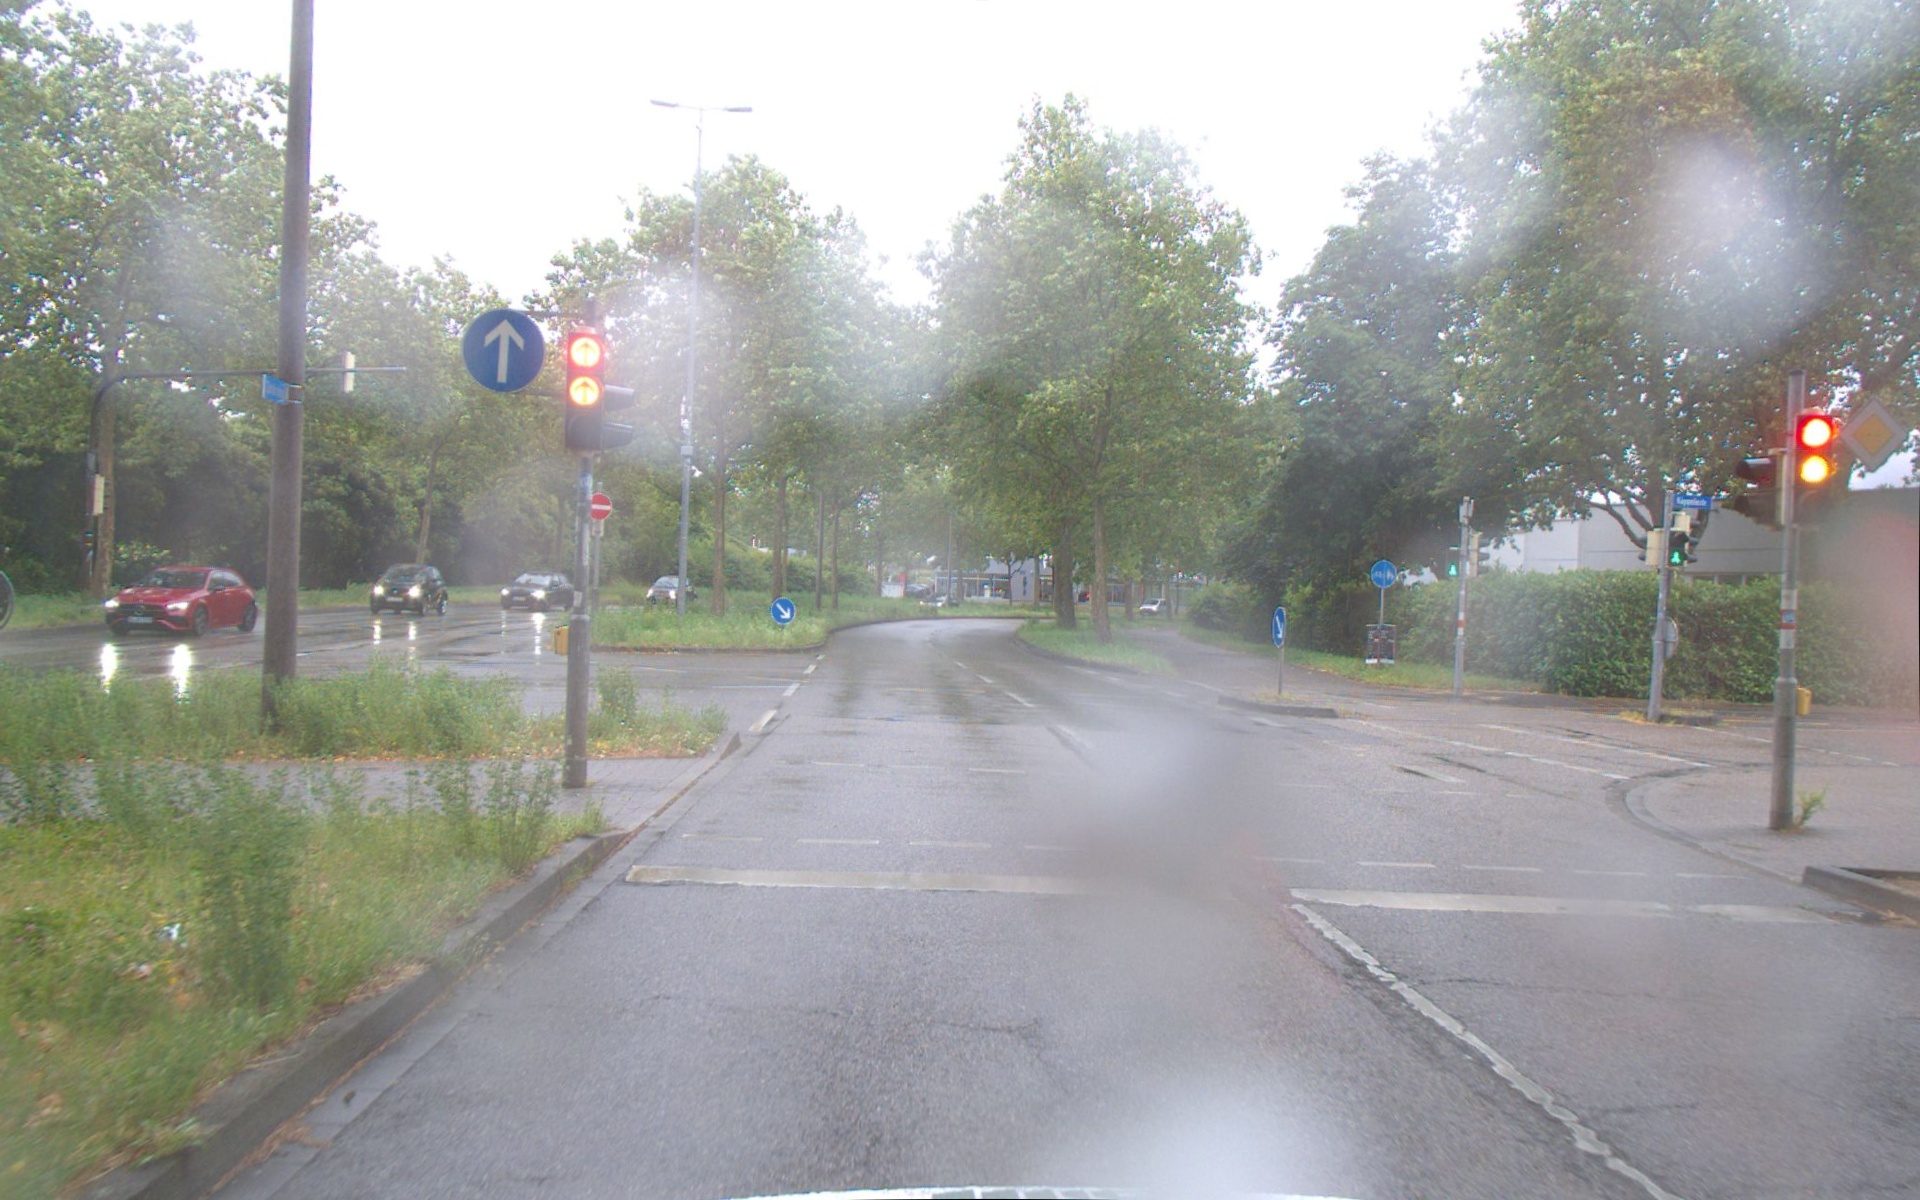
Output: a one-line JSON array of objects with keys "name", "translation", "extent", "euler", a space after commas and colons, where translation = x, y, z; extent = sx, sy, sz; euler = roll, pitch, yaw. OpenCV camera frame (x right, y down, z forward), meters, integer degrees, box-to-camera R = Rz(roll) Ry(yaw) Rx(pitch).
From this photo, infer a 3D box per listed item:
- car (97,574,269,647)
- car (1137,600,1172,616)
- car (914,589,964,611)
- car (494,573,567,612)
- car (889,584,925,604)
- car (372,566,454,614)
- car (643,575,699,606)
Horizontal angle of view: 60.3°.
[{"name": "car", "translation": [-16.638, 0.197, 35.665], "extent": [1.708, 1.432, 4.442], "euler": [2, 0, -2]}, {"name": "car", "translation": [19.961, 0.842, 169.719], "extent": [1.934, 1.591, 4.725], "euler": [2, 0, 27]}, {"name": "car", "translation": [-1.418, 0.032, 116.567], "extent": [1.961, 1.477, 4.993], "euler": [2, 0, 18]}, {"name": "car", "translation": [-16.381, -0.271, 63.256], "extent": [1.554, 1.397, 4.263], "euler": [2, 0, 1]}, {"name": "car", "translation": [-6.129, -0.702, 191.248], "extent": [3.915, 2.049, 1.995], "euler": [2, -1, -11]}, {"name": "car", "translation": [-17.076, -0.306, 51.732], "extent": [1.555, 1.397, 3.332], "euler": [2, 0, -3]}, {"name": "car", "translation": [-14.051, -0.456, 80.583], "extent": [1.554, 1.397, 4.265], "euler": [2, 0, 5]}]
